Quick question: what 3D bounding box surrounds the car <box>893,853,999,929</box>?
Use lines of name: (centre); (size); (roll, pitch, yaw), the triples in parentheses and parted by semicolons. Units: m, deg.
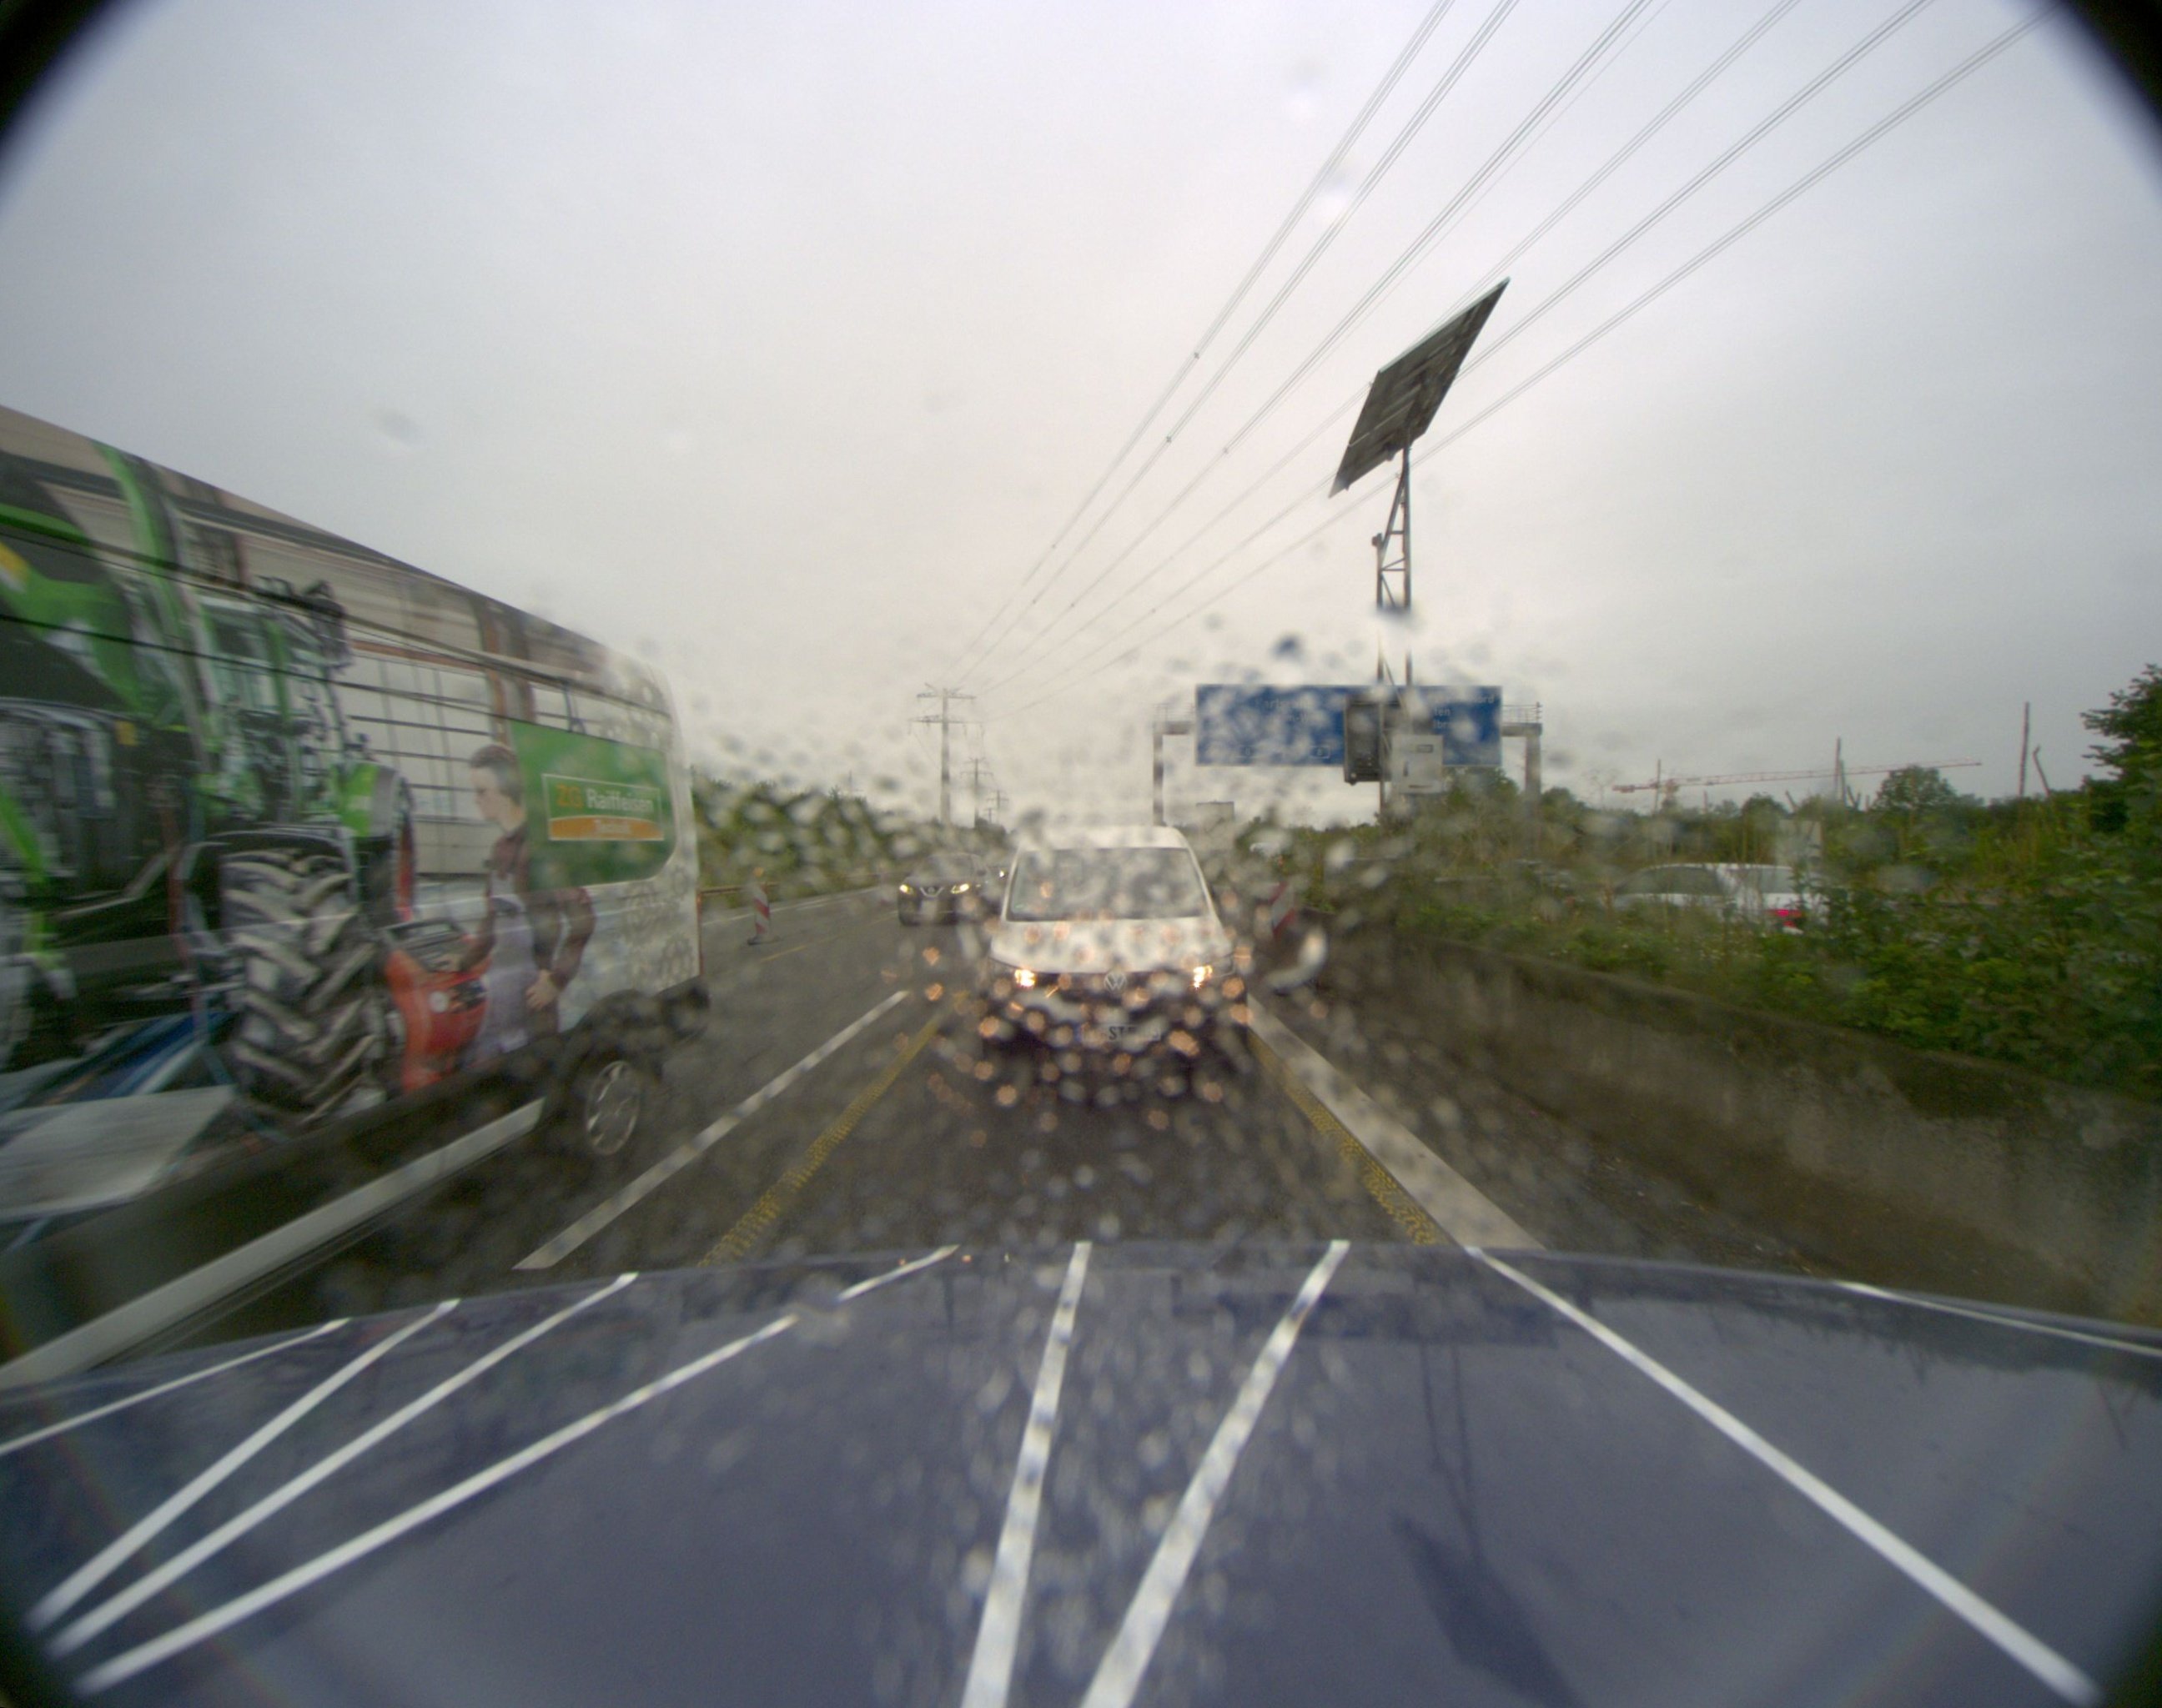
car: (-3.260, 0.838, 19.193); (1.688, 1.649, 4.281); (-1, 0, 3)

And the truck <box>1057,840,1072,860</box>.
truck: (-3.452, -0.813, 161.129); (2.875, 4.007, 8.308); (-1, 0, 1)

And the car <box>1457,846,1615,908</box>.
car: (12.445, 0.562, 21.133); (1.998, 1.518, 4.000); (-1, 0, 1)

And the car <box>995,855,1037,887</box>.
car: (-3.318, 0.835, 39.543); (1.804, 1.523, 4.149); (-1, 0, -1)

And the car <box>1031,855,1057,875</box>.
car: (-2.783, 0.831, 58.103); (1.804, 1.432, 4.149); (-1, 0, -1)

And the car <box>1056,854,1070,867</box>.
car: (-2.448, 0.888, 104.238); (1.804, 1.598, 4.149); (-1, 0, -1)

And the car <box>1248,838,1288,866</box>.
car: (16.057, -0.148, 65.663); (2.185, 2.252, 5.203); (-1, 0, 1)

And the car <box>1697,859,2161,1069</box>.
car: (8.936, 0.857, 7.804); (1.998, 1.518, 4.000); (-1, 0, 1)

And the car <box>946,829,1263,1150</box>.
car: (0.159, 0.771, 6.529); (1.768, 1.803, 4.345); (-1, 0, 1)

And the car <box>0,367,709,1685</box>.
car: (-3.274, 0.365, 1.707); (1.999, 2.766, 5.755); (-1, 0, 0)
